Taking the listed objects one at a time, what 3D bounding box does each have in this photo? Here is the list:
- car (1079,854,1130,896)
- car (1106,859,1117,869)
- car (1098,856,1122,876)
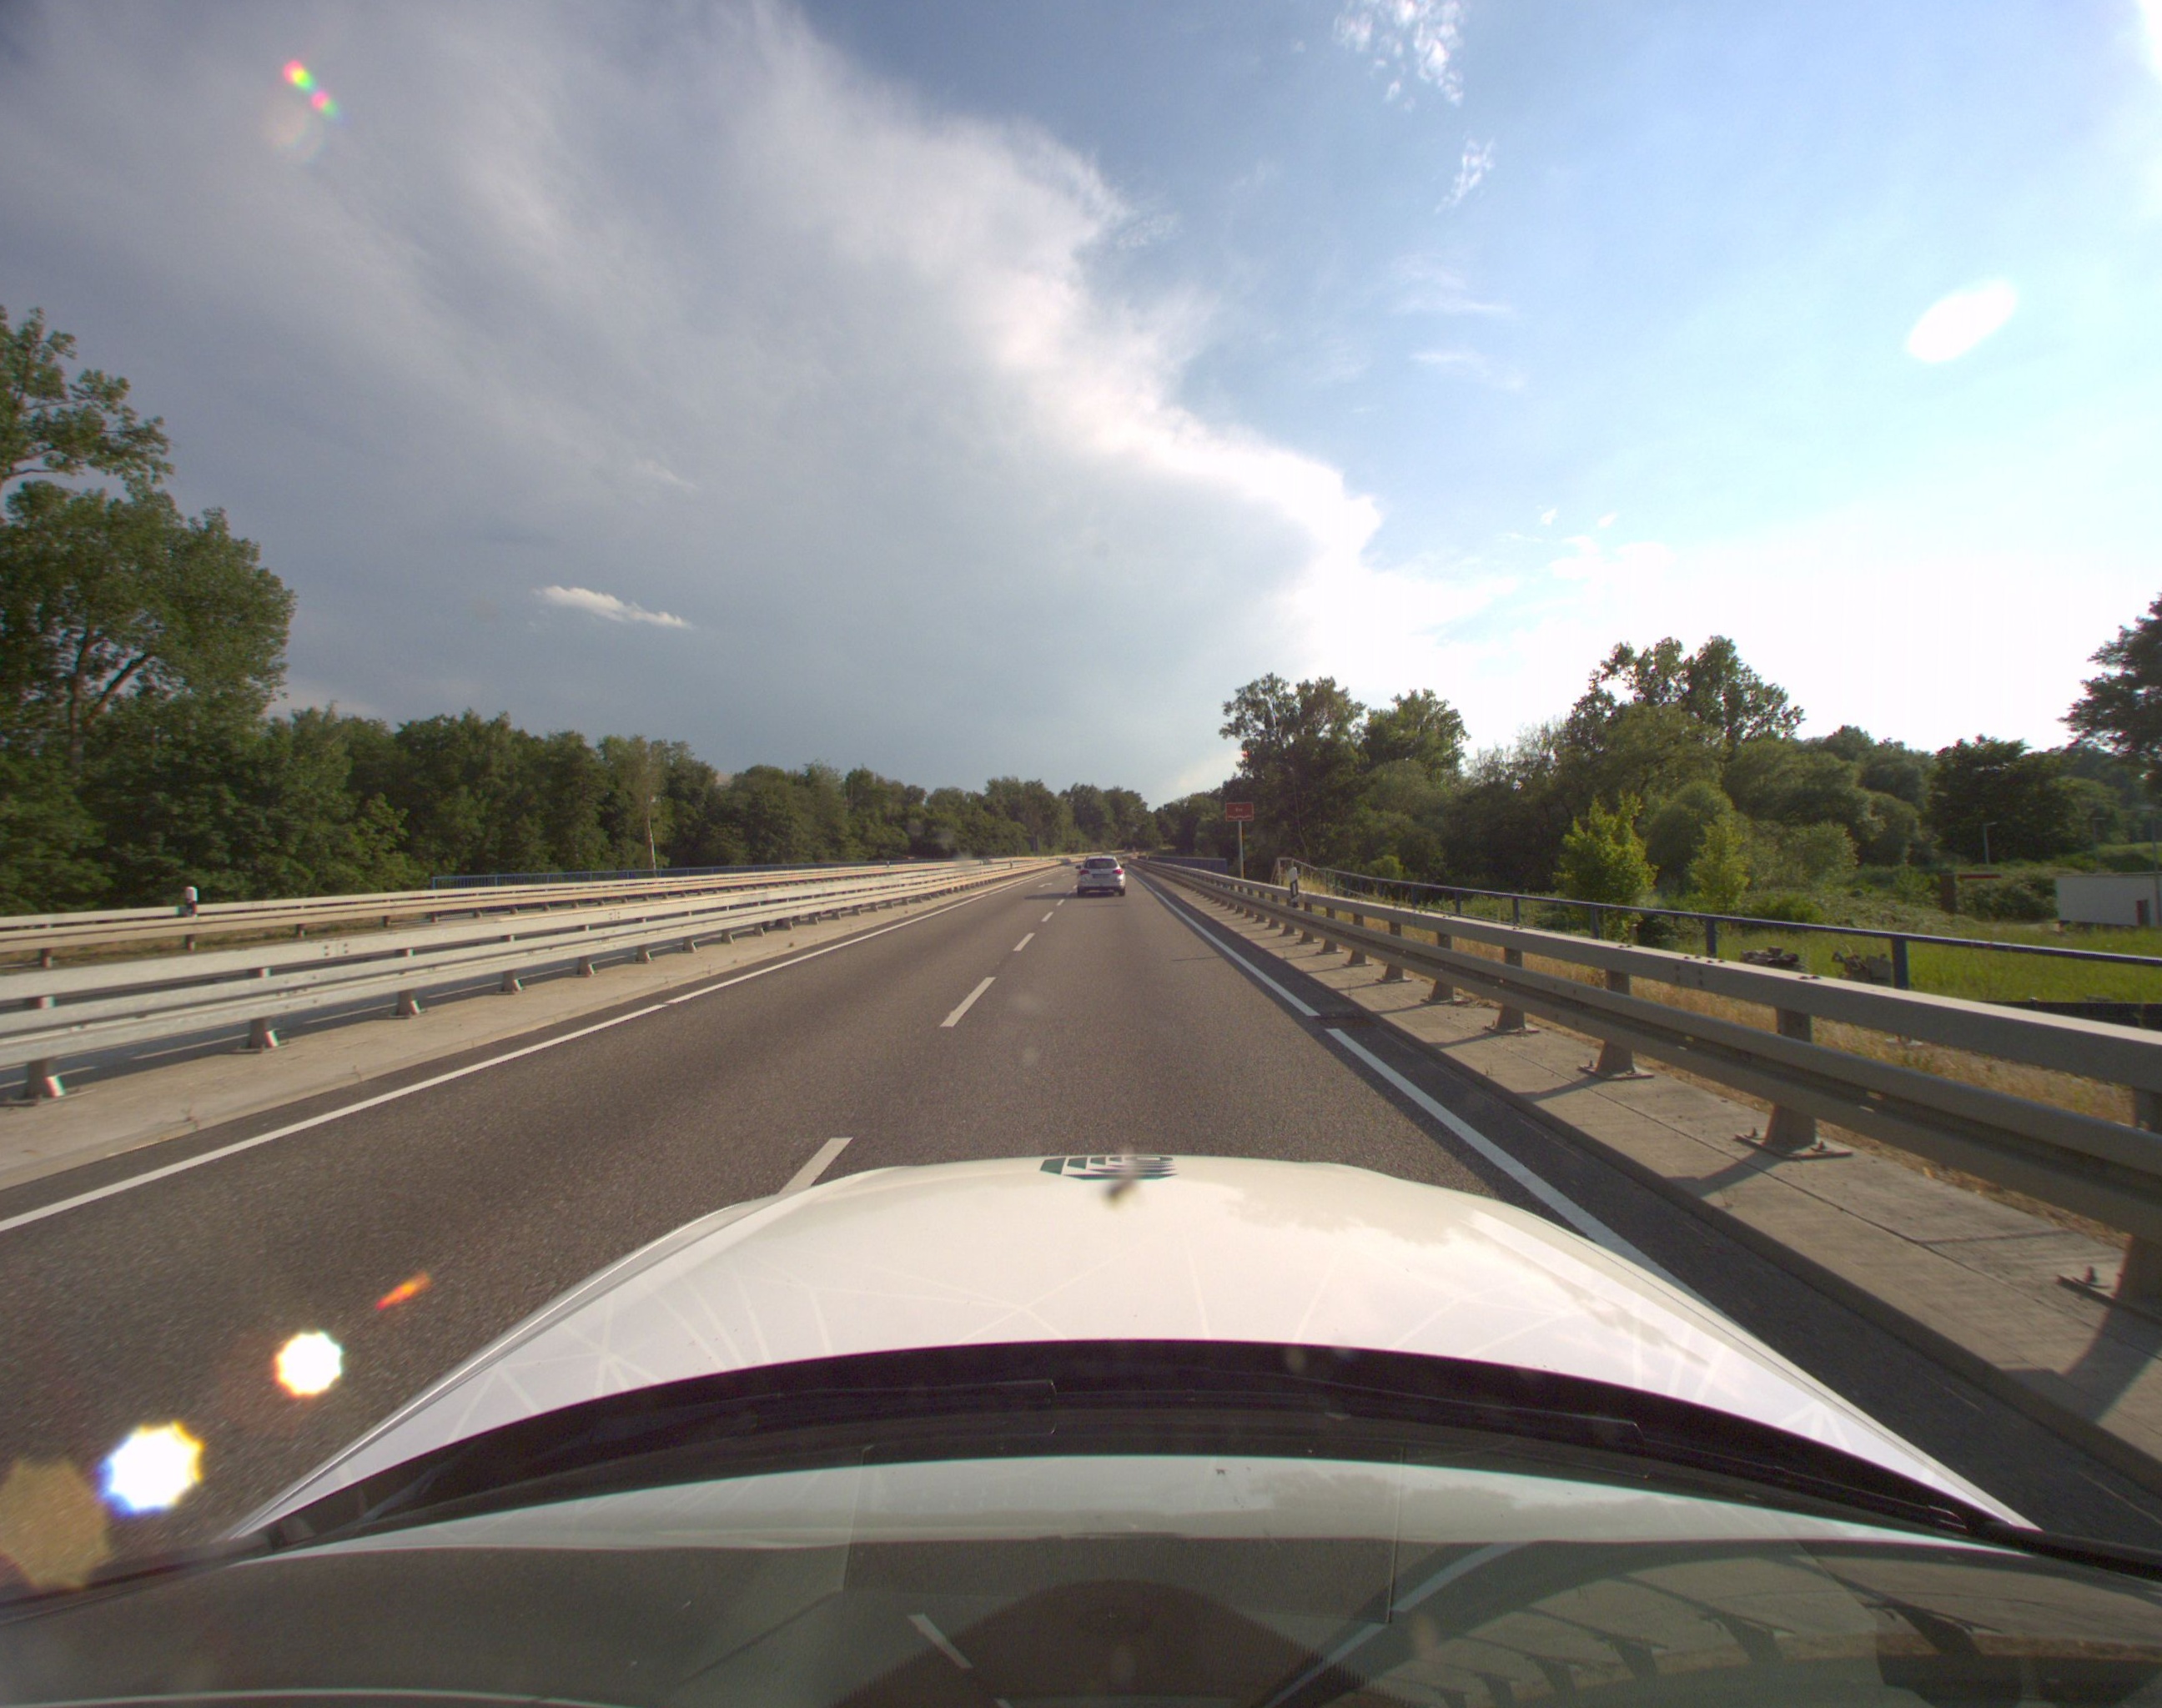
[{"bbox_3d":[0.885,0.797,31.223,1.802,1.486,4.000,0,-1,1],"label":"car"},{"bbox_3d":[5.960,1.952,160.355,1.989,2.014,3.996,0,-1,-2],"label":"car"},{"bbox_3d":[2.206,0.942,63.276,1.802,1.486,4.000,0,-1,1],"label":"car"}]
